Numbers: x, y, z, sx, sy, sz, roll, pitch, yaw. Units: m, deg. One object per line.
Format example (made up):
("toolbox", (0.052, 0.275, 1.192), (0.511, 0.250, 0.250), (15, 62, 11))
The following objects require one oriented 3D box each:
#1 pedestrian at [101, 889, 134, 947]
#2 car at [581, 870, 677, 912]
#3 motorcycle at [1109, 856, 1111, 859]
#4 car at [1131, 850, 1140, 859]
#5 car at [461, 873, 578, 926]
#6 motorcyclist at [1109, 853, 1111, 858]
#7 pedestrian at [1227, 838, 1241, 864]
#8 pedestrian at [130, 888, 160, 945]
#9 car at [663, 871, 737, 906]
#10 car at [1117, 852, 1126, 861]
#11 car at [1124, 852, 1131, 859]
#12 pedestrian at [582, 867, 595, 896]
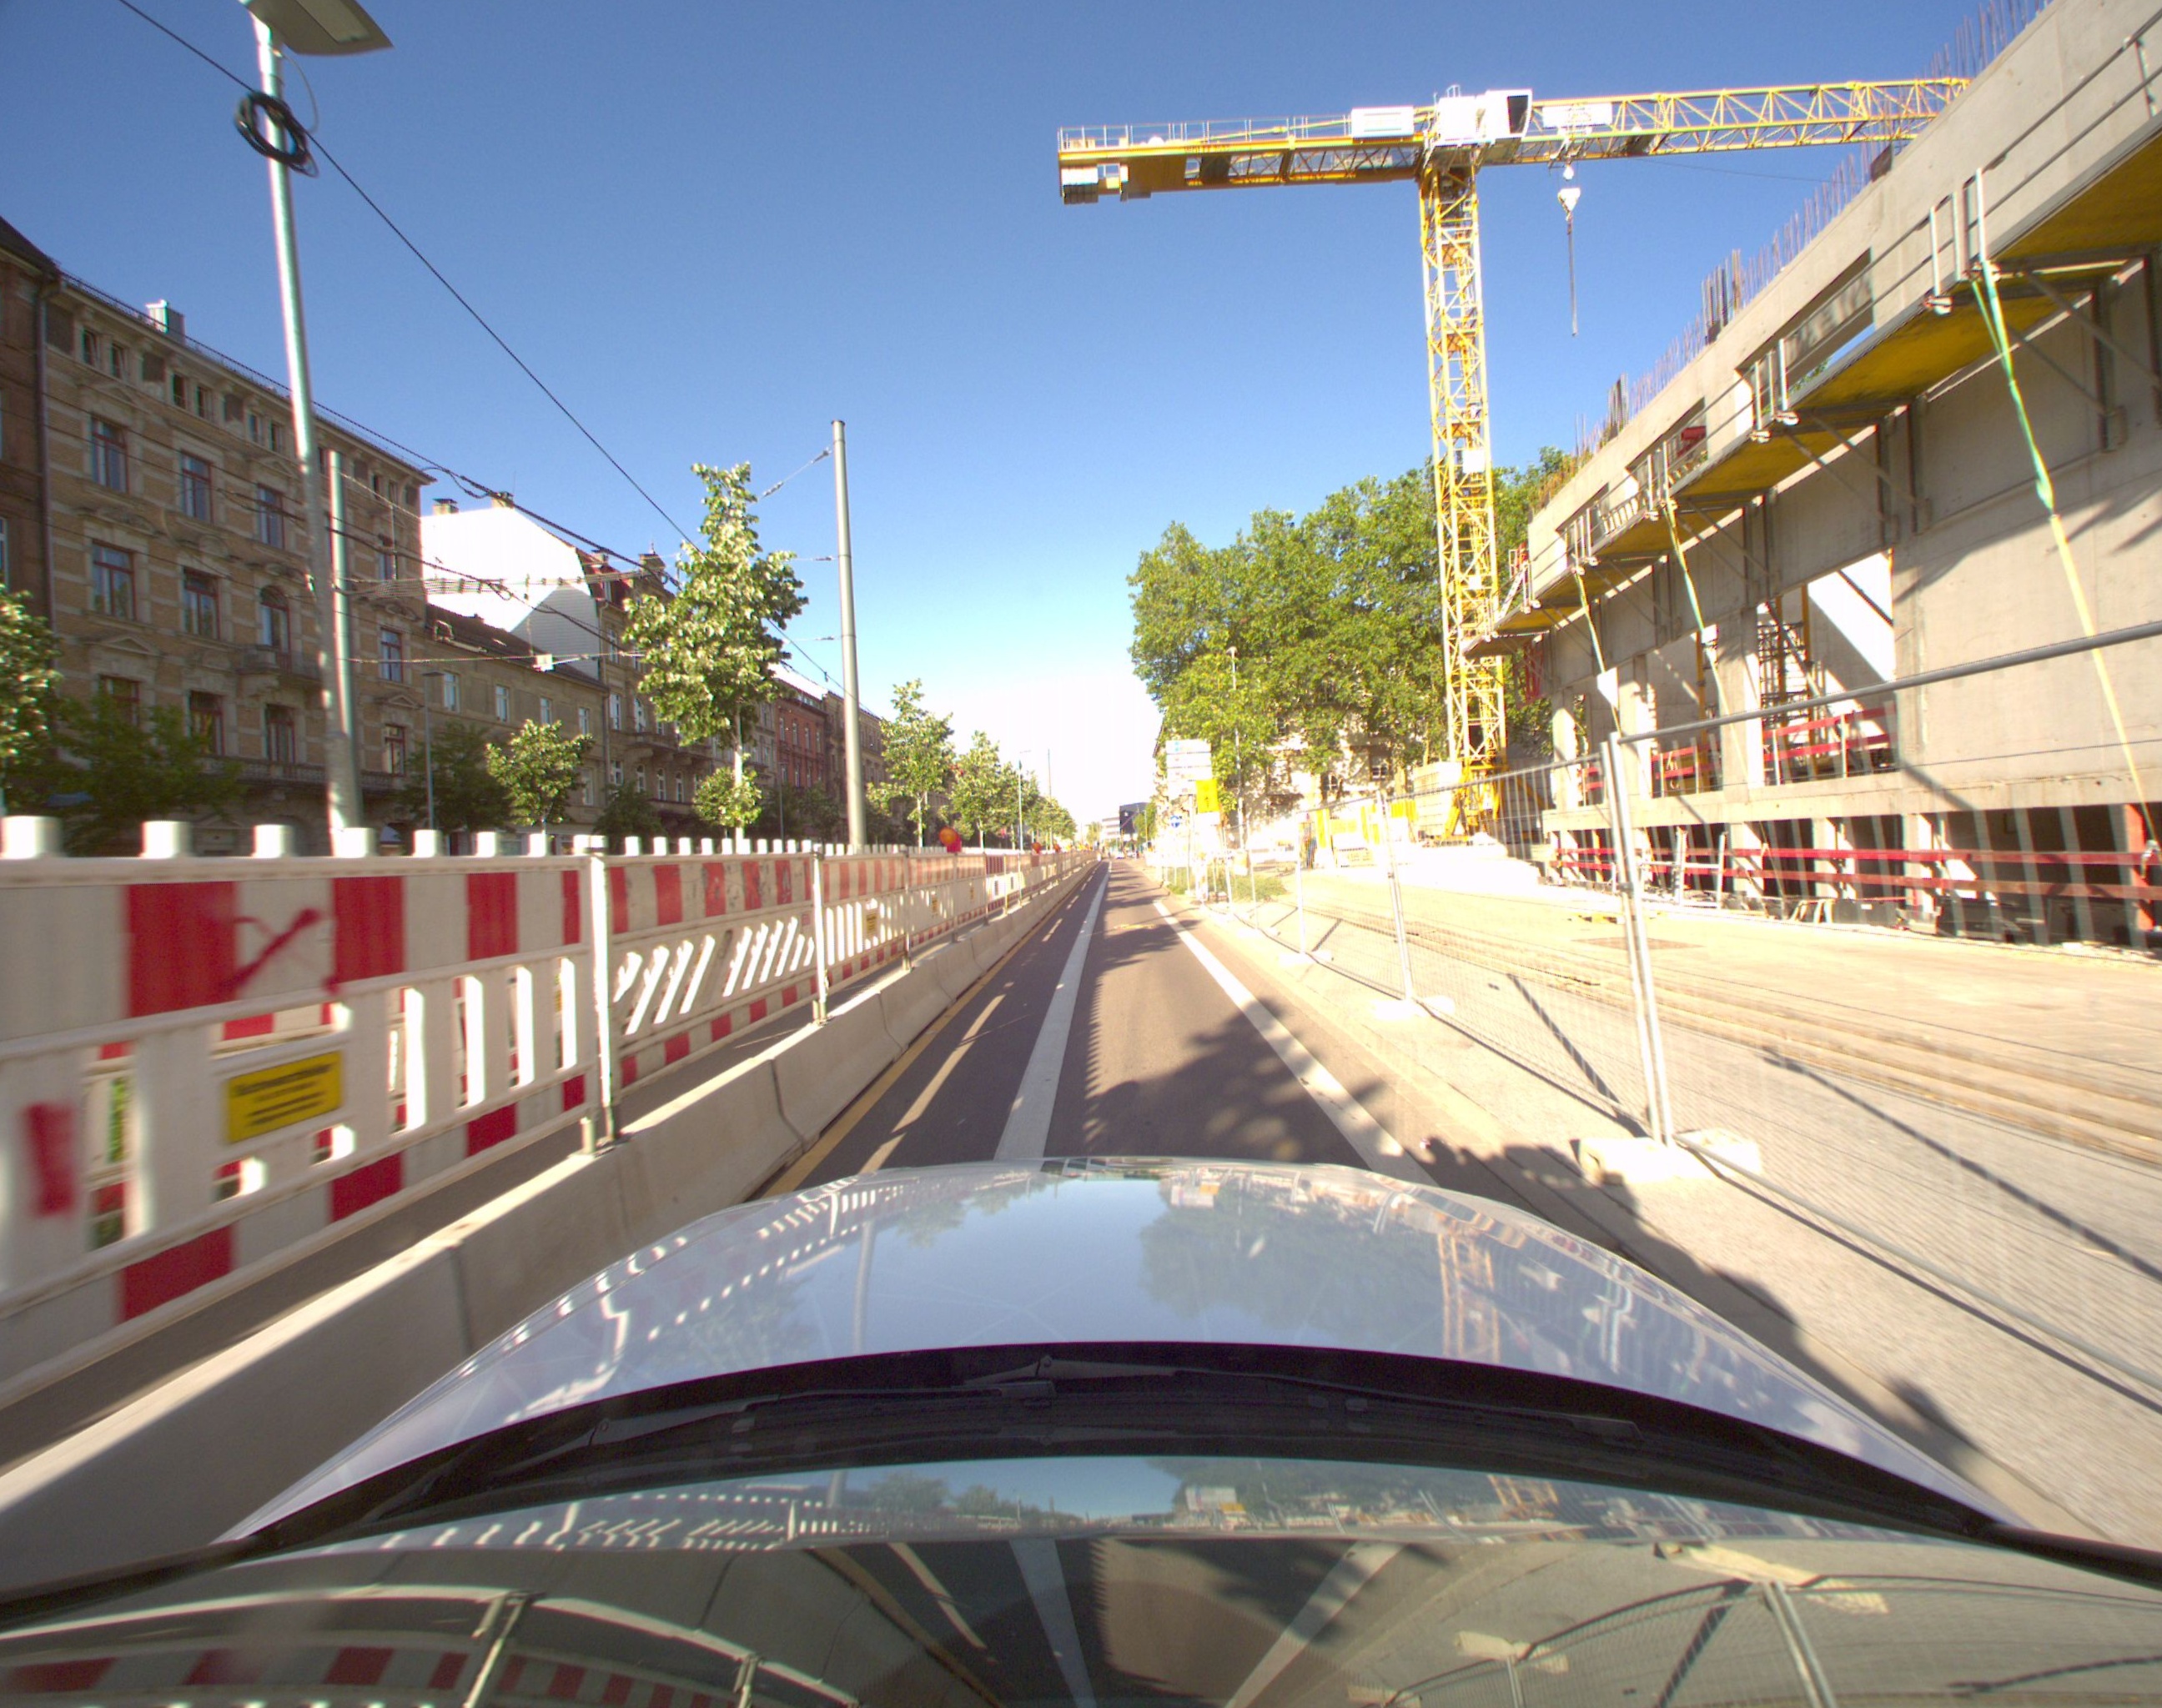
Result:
("pedestrian", (-26.930, 1.788, 22.762), (0.432, 1.585, 0.385), (0, 0, -1))
("car", (-20.624, 1.633, 37.394), (1.560, 1.562, 4.717), (-3, 0, 2))
("motorcycle", (7.684, 0.906, 216.362), (0.628, 0.896, 1.622), (-3, 0, 2))
("car", (12.956, 0.135, 194.006), (1.876, 1.842, 3.670), (-3, 0, 2))
("car", (-20.942, 1.653, 30.562), (1.560, 1.675, 3.811), (-3, 0, 2))
("motorcyclist", (7.661, 0.436, 216.442), (0.628, 1.263, 0.606), (-3, 0, 2))
("pedestrian", (10.545, -0.223, 56.189), (0.772, 1.746, 0.671), (-3, 0, 2))
("pedestrian", (-26.206, 1.747, 22.800), (0.427, 1.585, 0.339), (-1, 0, 2))
("car", (-20.322, 1.782, 43.647), (1.560, 1.562, 4.717), (-3, 0, 2))
("car", (8.885, 0.542, 180.897), (1.876, 1.842, 3.670), (-3, 0, 2))
("car", (12.656, 0.332, 221.429), (1.876, 1.842, 3.670), (-3, 0, 2))
("pedestrian", (-25.851, 1.429, 42.713), (0.403, 1.534, 0.435), (-1, 0, 2))
